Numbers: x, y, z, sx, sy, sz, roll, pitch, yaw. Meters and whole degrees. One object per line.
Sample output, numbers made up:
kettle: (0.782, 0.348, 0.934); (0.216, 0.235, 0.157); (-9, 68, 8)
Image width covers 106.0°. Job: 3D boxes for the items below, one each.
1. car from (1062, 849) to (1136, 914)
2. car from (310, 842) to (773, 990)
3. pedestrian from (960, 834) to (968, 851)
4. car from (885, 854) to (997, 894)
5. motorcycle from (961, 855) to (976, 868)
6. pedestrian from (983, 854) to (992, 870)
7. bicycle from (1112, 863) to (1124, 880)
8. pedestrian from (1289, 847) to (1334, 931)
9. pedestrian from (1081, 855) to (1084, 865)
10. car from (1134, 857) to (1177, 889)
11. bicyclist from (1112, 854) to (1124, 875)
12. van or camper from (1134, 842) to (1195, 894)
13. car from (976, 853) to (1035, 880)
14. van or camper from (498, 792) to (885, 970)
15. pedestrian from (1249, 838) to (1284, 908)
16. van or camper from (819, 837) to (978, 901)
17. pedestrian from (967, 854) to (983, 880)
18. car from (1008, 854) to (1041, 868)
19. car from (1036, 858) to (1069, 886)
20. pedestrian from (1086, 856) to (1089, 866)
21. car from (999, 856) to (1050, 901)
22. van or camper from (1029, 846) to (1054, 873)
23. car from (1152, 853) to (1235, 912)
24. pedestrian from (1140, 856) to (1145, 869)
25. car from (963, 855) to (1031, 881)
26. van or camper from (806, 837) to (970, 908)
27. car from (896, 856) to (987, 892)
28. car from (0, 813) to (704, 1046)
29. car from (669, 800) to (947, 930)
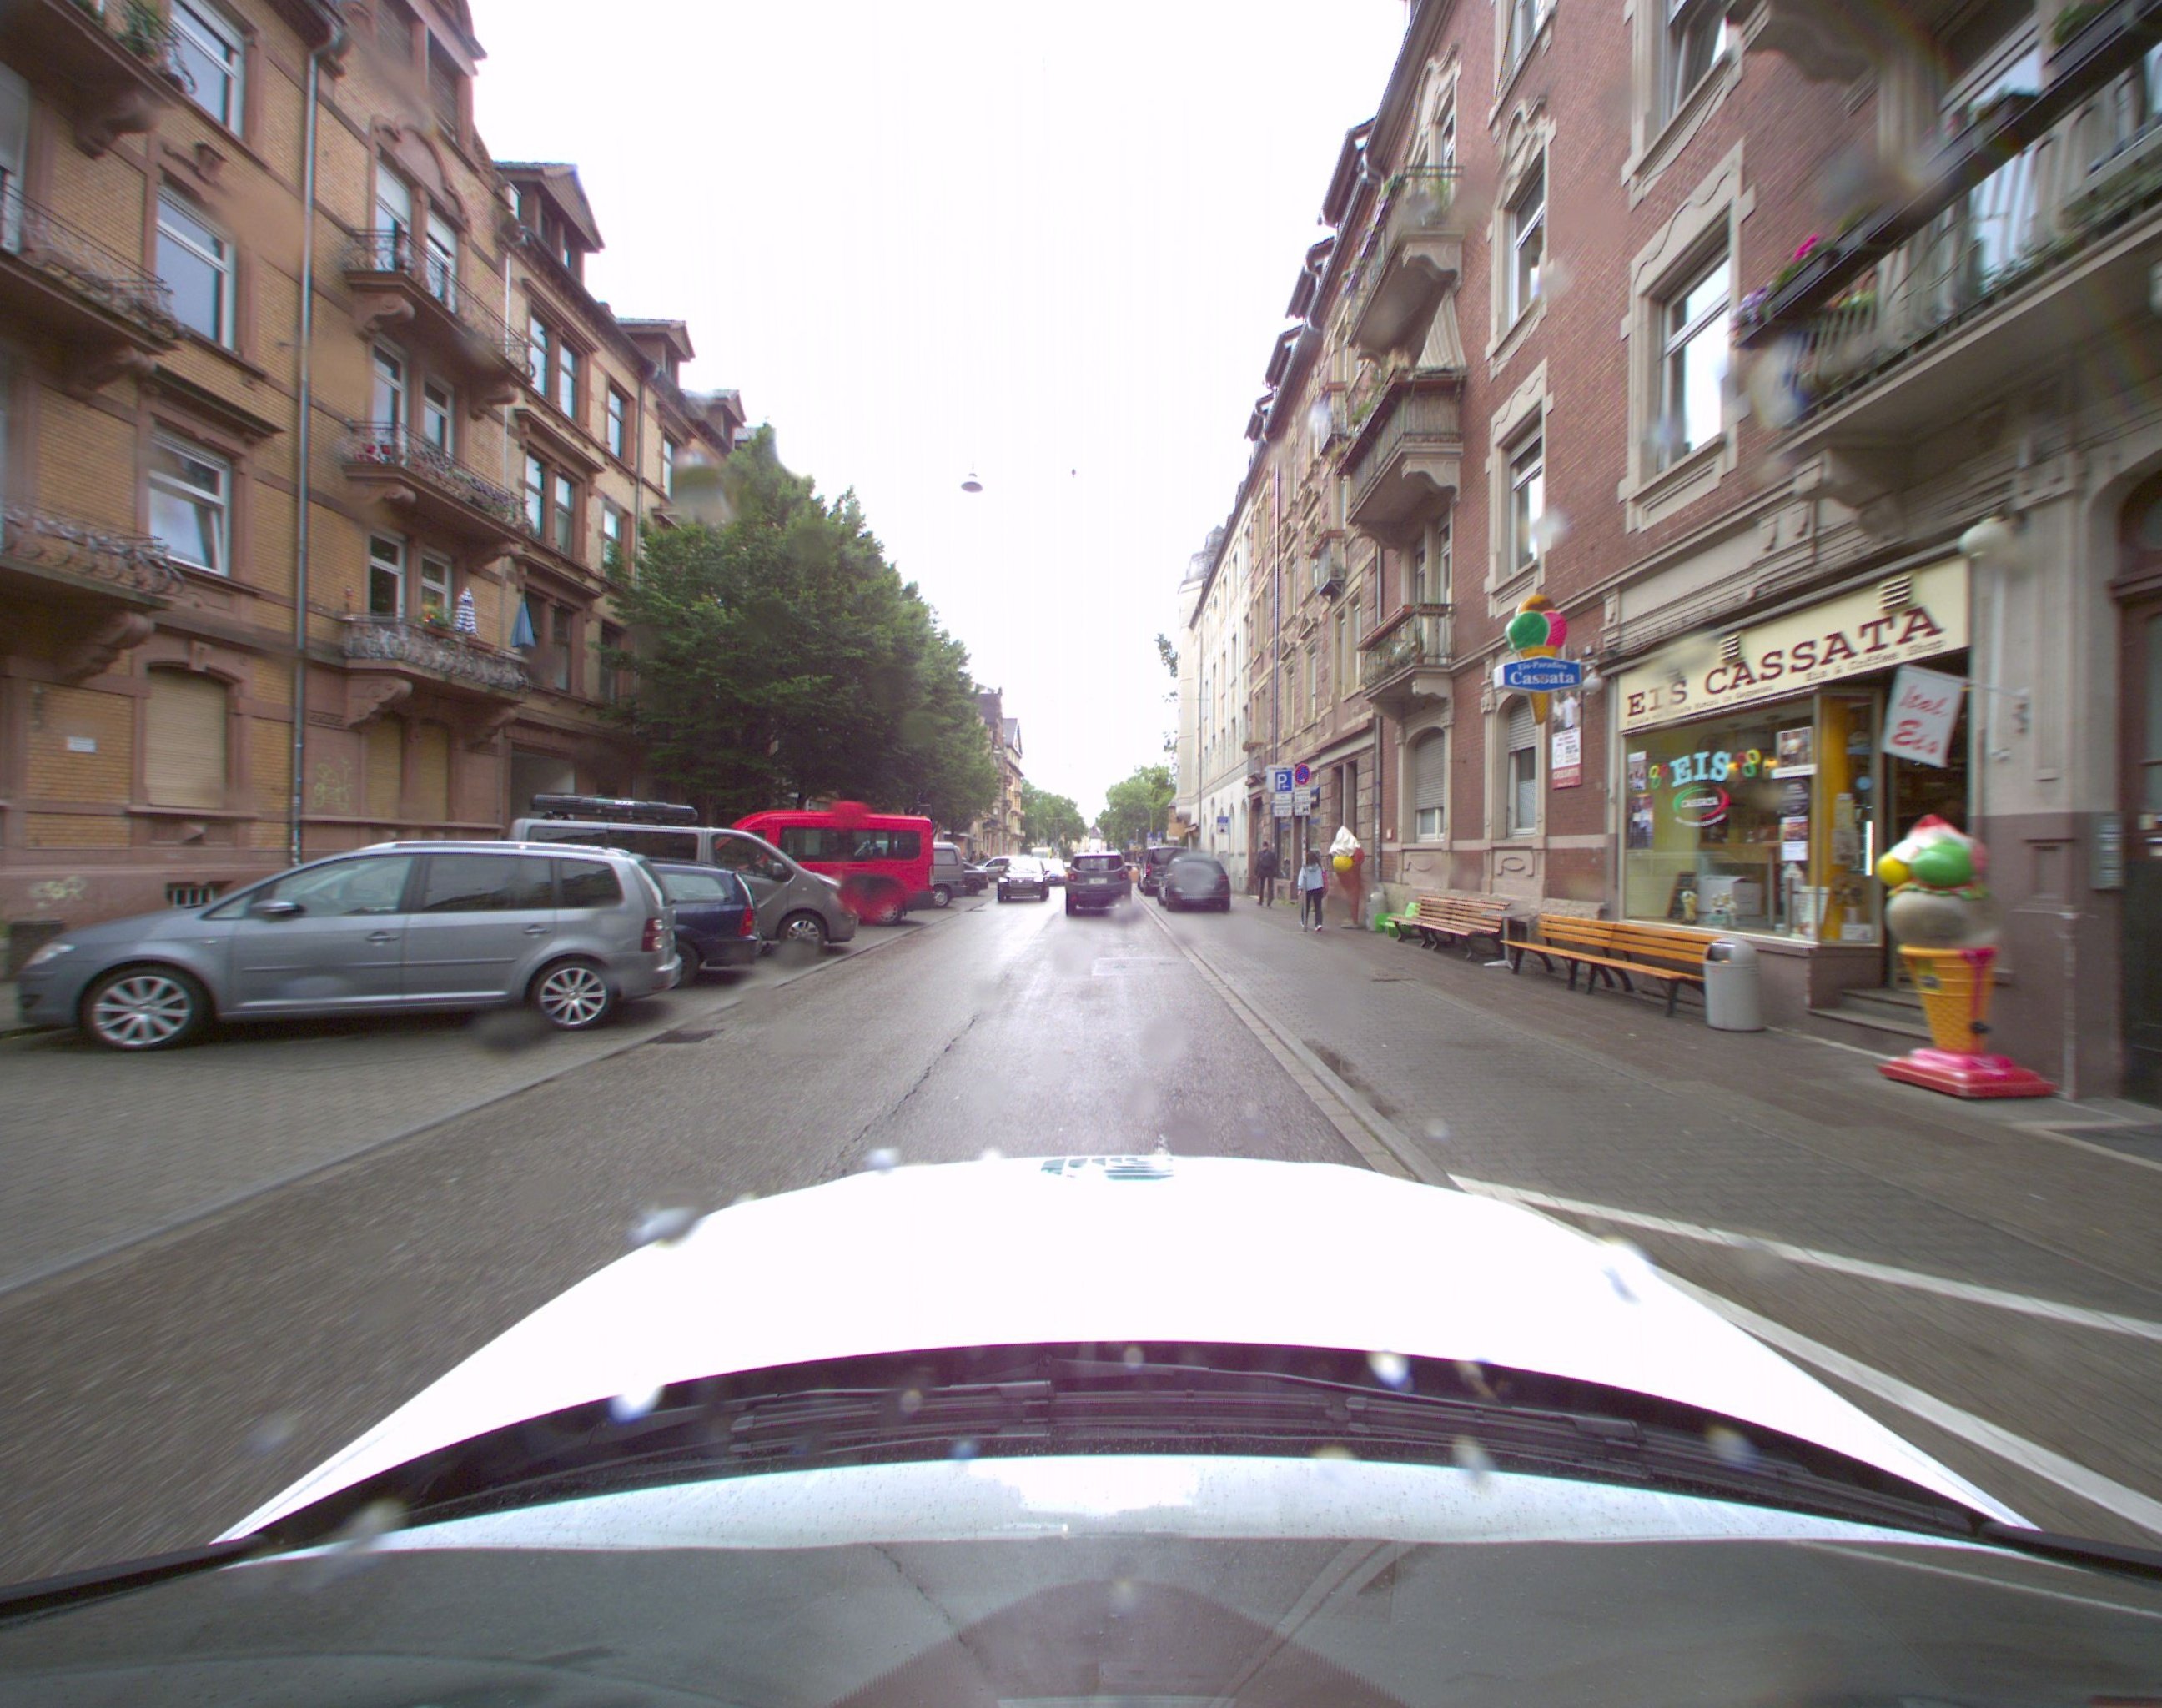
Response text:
car: (0.478, 0.726, 23.160); (1.892, 1.671, 4.505); (0, 0, 0)
car: (-6.114, 0.701, 9.934); (4.359, 1.504, 1.742); (2, 0, -22)
pedestrian: (-12.169, -1.164, 84.602); (0.663, 1.757, 0.791); (0, 0, -23)
car: (-5.490, 0.808, 32.132); (3.998, 1.447, 1.747); (2, -1, -39)
motorcycle: (-11.256, 0.754, 81.605); (0.748, 1.174, 2.123); (3, 0, 13)
pedestrian: (-9.164, 0.792, 79.578); (0.705, 1.551, 0.609); (3, 0, 8)
bicycle: (2.451, 1.150, 54.012); (0.702, 1.054, 1.813); (0, 0, 2)
pedestrian: (4.558, 0.683, 16.132); (0.676, 1.614, 0.810); (-1, 0, 1)
pedestrian: (0.281, 1.023, 131.957); (0.466, 1.585, 0.752); (0, 0, 0)
car: (3.443, 0.861, 38.132); (1.704, 1.400, 3.705); (-1, 0, 1)
bicyclist: (2.451, 0.690, 54.016); (0.702, 1.403, 1.171); (0, 0, 1)
van or camper: (3.265, 0.525, 32.798); (2.014, 1.891, 5.055); (-1, 0, 1)
car: (-4.818, 0.784, 51.813); (3.398, 1.654, 1.617); (0, 0, -32)
van or camper: (-5.896, 0.387, 12.907); (5.033, 2.349, 2.325); (1, 0, -25)
pedestrian: (5.319, 0.531, 23.325); (0.672, 1.934, 0.815); (-1, 0, 36)
van or camper: (-6.173, 0.518, 27.866); (4.722, 1.953, 2.310); (2, 0, -41)
pedestrian: (-7.314, 0.866, 56.128); (0.820, 1.752, 0.758); (3, 0, 8)
car: (-7.067, 0.864, 101.389); (3.680, 1.559, 1.780); (2, -1, -35)
car: (-1.550, 0.968, 45.594); (1.664, 1.465, 4.003); (0, 0, 0)
pedestrian: (1.026, 1.184, 133.396); (0.466, 1.585, 0.752); (0, 0, 0)
car: (-2.036, 0.855, 30.116); (1.665, 1.559, 4.001); (0, 0, -1)
van or camper: (-4.097, 0.617, 85.601); (2.114, 2.531, 6.874); (-3, -2, 1)
car: (3.122, 0.752, 23.356); (1.835, 1.545, 4.003); (0, 0, 0)
pedestrian: (8.223, 1.153, 109.324); (0.688, 1.711, 0.684); (0, 0, 1)
car: (-5.027, 0.826, 48.934); (3.729, 1.452, 1.668); (0, 0, -34)
van or camper: (-5.747, 0.541, 24.459); (4.463, 1.975, 1.764); (1, 0, -32)
car: (-5.950, 0.816, 34.830); (3.499, 1.435, 1.632); (0, 0, -41)
car: (-5.971, 0.628, 7.481); (4.452, 1.630, 1.829); (3, 0, -25)
car: (-6.031, 0.241, 18.189); (5.584, 2.541, 2.210); (1, 0, -27)
